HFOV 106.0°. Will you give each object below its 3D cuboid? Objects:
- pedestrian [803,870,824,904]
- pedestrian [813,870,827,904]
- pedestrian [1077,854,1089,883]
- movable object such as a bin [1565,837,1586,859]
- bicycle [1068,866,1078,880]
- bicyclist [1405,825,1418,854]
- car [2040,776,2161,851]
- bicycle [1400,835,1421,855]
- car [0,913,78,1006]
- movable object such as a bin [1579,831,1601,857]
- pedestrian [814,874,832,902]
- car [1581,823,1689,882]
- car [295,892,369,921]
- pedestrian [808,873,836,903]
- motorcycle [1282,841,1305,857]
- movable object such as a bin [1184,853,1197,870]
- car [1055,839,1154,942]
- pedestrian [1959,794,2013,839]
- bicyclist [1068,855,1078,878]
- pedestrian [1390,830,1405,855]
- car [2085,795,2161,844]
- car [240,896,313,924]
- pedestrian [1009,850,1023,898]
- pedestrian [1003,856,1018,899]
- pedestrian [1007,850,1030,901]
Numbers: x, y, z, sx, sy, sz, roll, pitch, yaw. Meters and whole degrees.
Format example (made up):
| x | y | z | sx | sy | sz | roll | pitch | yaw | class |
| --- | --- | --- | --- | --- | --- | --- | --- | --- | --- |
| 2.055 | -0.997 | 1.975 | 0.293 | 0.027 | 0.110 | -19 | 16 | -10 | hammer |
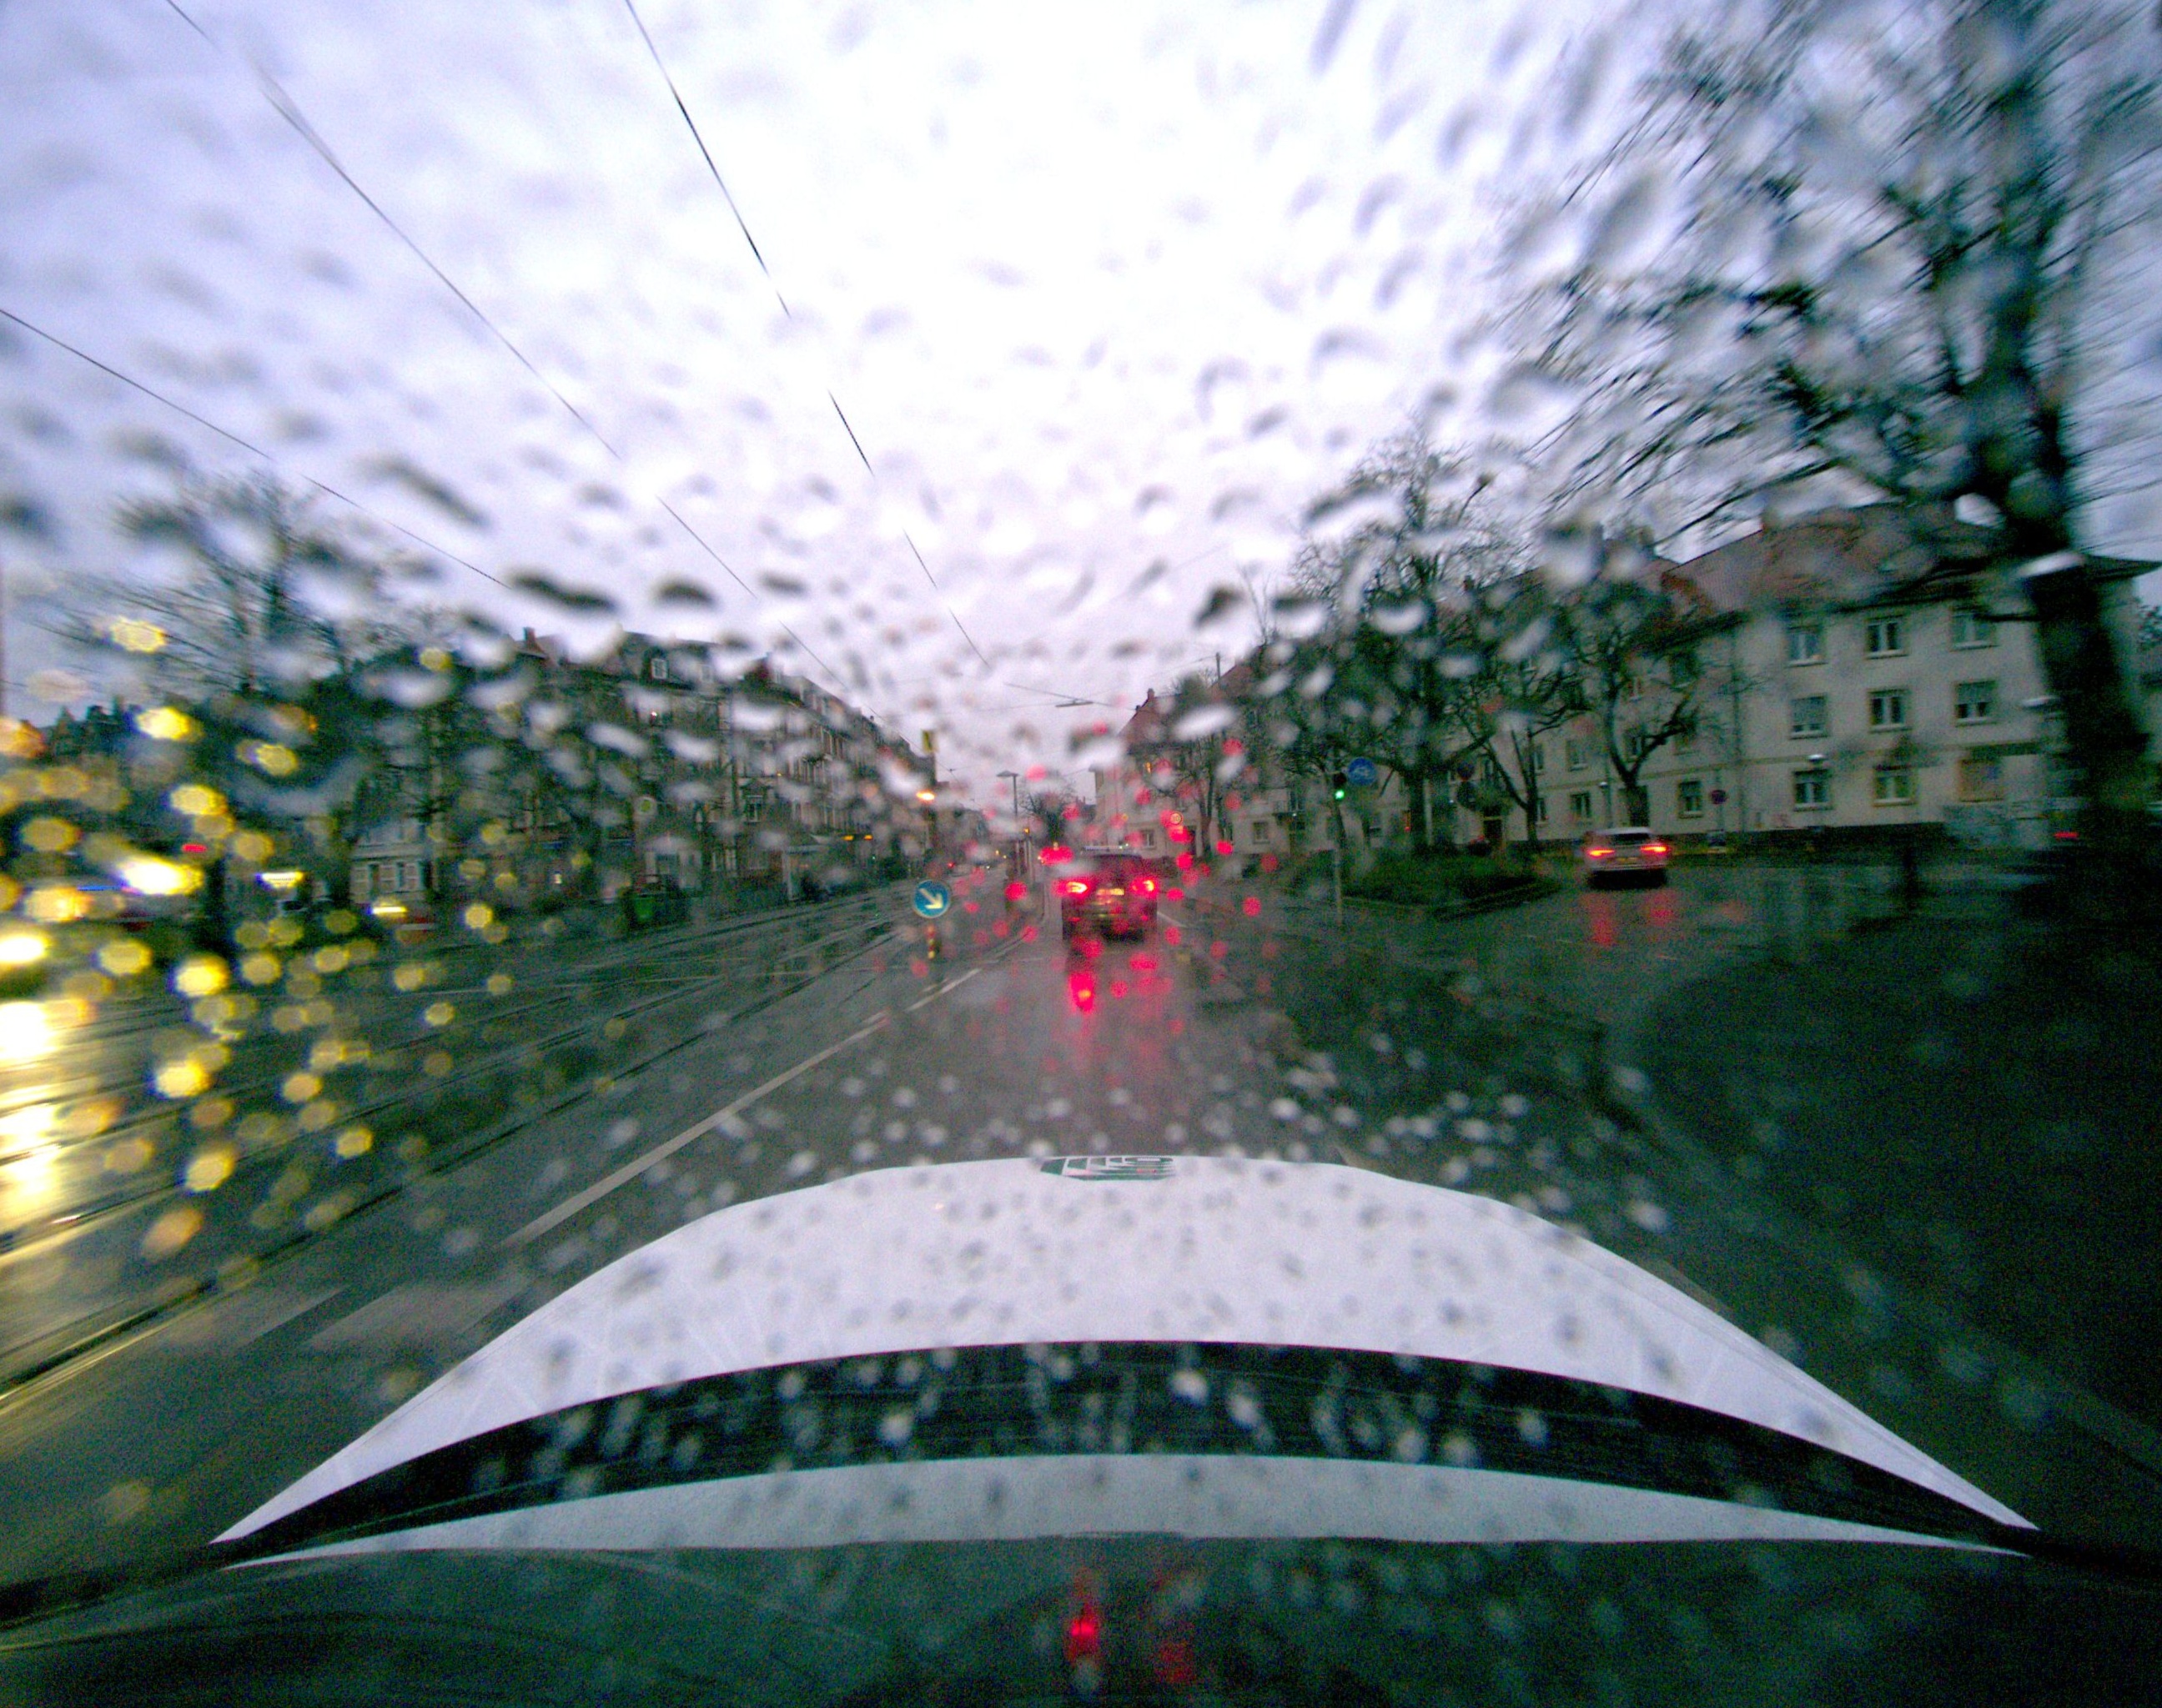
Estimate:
| x | y | z | sx | sy | sz | roll | pitch | yaw | class |
| --- | --- | --- | --- | --- | --- | --- | --- | --- | --- |
| -11.059 | 1.363 | 33.722 | 0.682 | 1.403 | 0.577 | 0 | -1 | -3 | pedestrian |
| -10.973 | 1.368 | 34.262 | 0.472 | 1.403 | 0.453 | 0 | -1 | -3 | pedestrian |
| 0.119 | 0.960 | 53.846 | 0.711 | 1.917 | 0.690 | 0 | -1 | 8 | pedestrian |
| 23.899 | -0.290 | 39.344 | 0.528 | 0.980 | 0.647 | -3 | -1 | -15 | movable object such as a bin |
| -0.629 | 1.500 | 64.782 | 0.729 | 1.007 | 1.762 | -3 | -1 | -2 | bicycle |
| 21.672 | -0.946 | 53.373 | 0.465 | 1.886 | 0.679 | -3 | -1 | -3 | bicyclist |
| 26.648 | -0.959 | 19.776 | 4.304 | 1.728 | 1.811 | 0 | -1 | 6 | car |
| 21.687 | -0.586 | 53.610 | 0.465 | 1.291 | 1.912 | -3 | 0 | -3 | bicycle |
| -22.170 | 2.103 | 16.313 | 1.948 | 1.583 | 4.291 | 0 | -1 | -42 | car |
| 24.162 | -0.471 | 38.682 | 0.528 | 1.228 | 0.647 | -3 | -1 | -15 | movable object such as a bin |
| -11.369 | 1.491 | 35.864 | 0.651 | 1.218 | 0.516 | 0 | -1 | -3 | pedestrian |
| 15.734 | -0.018 | 23.022 | 1.875 | 1.510 | 4.782 | -1 | -1 | 42 | car |
| -53.130 | 3.730 | 57.778 | 3.956 | 1.706 | 2.009 | -4 | 0 | 16 | car |
| -11.215 | 1.465 | 35.337 | 1.053 | 1.254 | 0.506 | 0 | -1 | -4 | pedestrian |
| 15.533 | -0.368 | 59.555 | 0.573 | 1.105 | 1.584 | -6 | 2 | -39 | motorcycle |
| 8.411 | 0.572 | 62.363 | 0.843 | 1.252 | 0.525 | -1 | -1 | 40 | movable object such as a bin |
| 0.387 | 0.674 | 16.824 | 1.797 | 1.871 | 4.015 | 0 | -1 | -1 | car |
| 35.106 | -1.458 | 31.602 | 1.111 | 1.642 | 0.763 | -4 | -1 | 13 | pedestrian |
| -0.666 | 0.998 | 64.814 | 0.728 | 1.736 | 0.765 | -3 | -1 | -2 | bicyclist |
| 21.528 | -0.807 | 55.381 | 0.705 | 1.660 | 0.692 | -4 | 0 | 40 | pedestrian |
| 34.176 | -1.120 | 25.511 | 1.828 | 1.485 | 4.024 | -3 | 0 | 25 | car |
| -58.541 | 4.064 | 59.289 | 3.956 | 1.706 | 2.009 | -4 | 0 | 16 | car |
| -2.713 | 0.838 | 34.061 | 0.556 | 1.987 | 0.570 | 0 | -1 | -2 | pedestrian |
| -2.843 | 0.936 | 32.993 | 0.556 | 1.741 | 0.570 | 0 | -1 | -2 | pedestrian |
| -2.405 | 0.828 | 31.521 | 0.851 | 1.956 | 0.570 | 0 | -1 | -3 | pedestrian |
